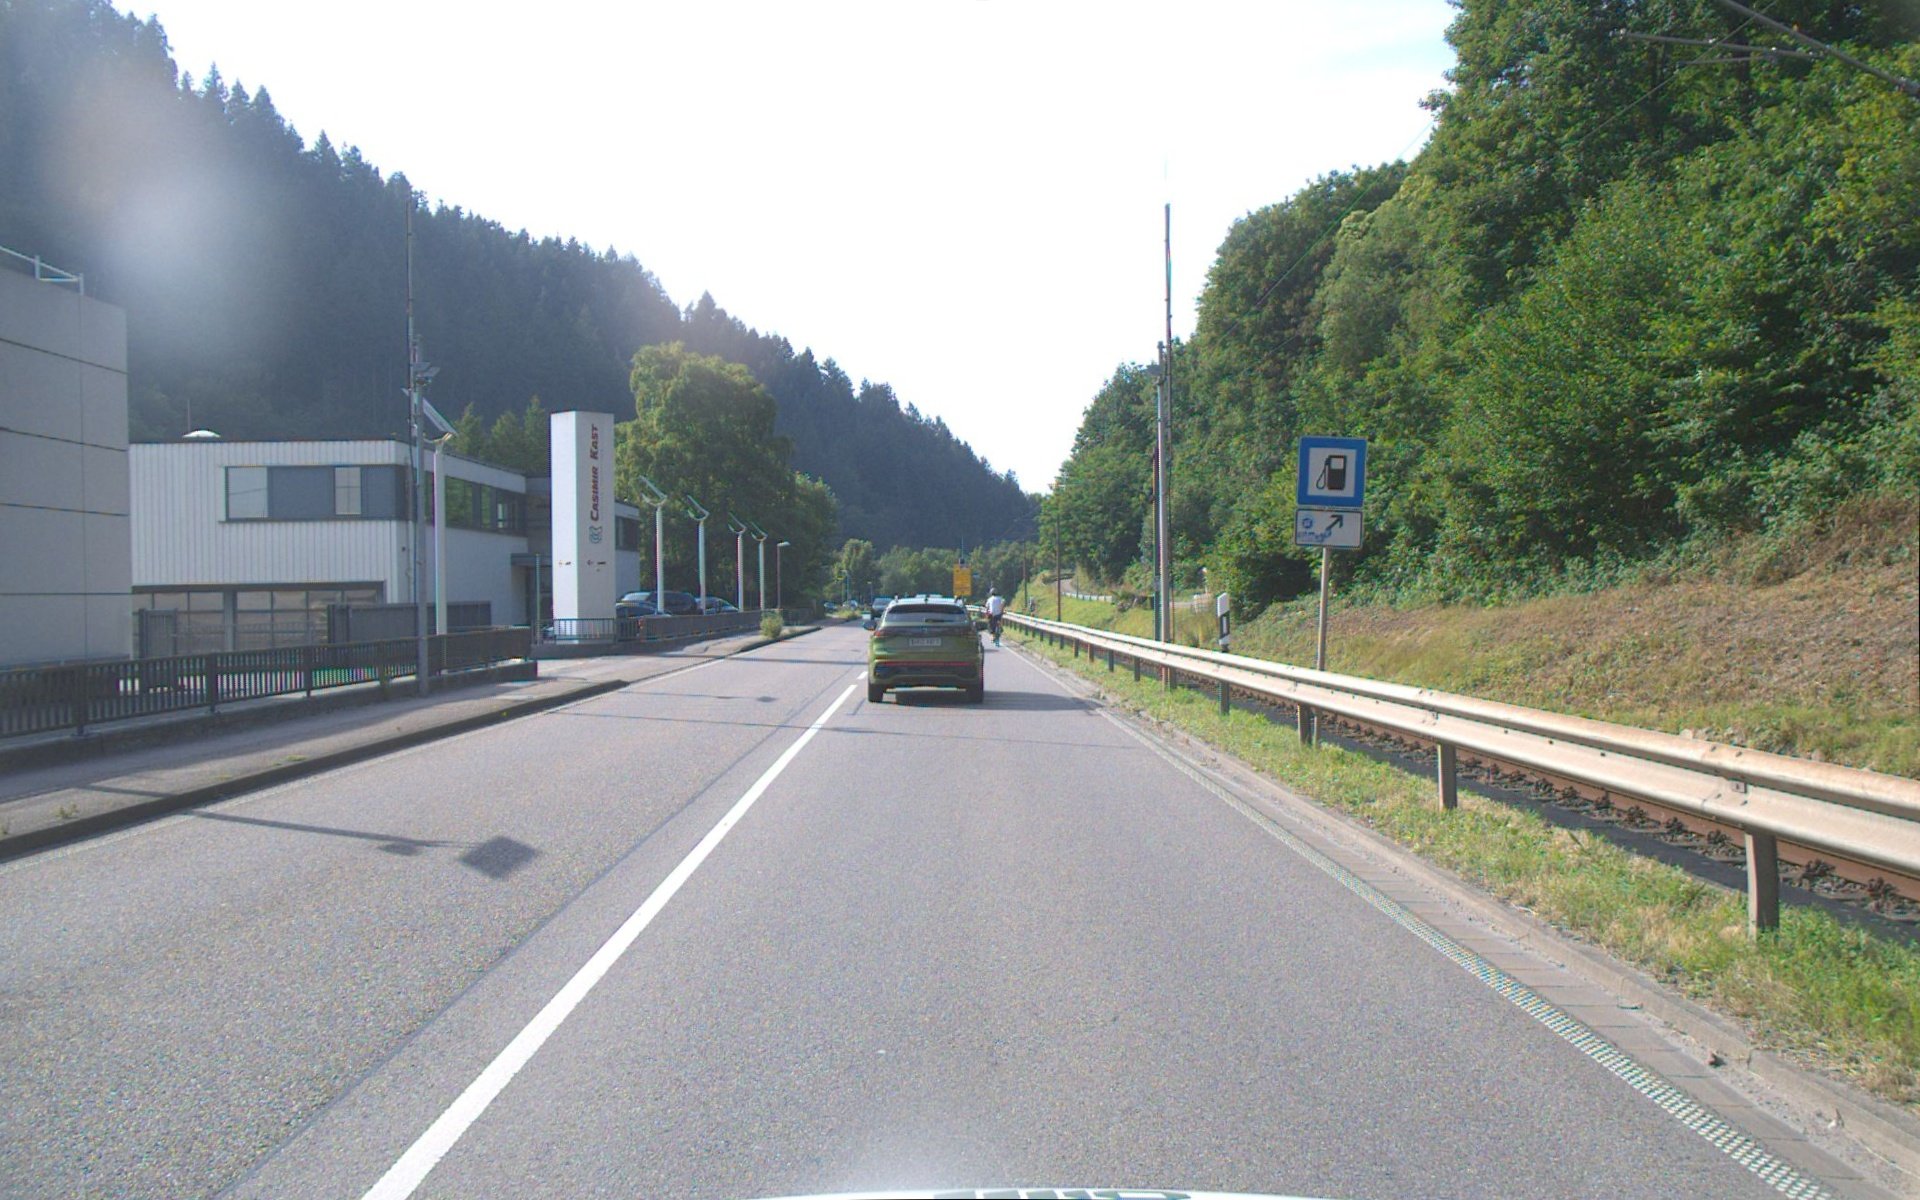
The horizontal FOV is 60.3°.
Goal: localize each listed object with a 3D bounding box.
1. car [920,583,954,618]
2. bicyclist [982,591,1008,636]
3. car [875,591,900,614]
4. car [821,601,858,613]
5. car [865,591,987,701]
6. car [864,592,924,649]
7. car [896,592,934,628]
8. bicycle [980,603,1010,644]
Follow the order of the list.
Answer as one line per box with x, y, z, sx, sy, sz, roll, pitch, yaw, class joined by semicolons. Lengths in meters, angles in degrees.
-1.397;0.009;98.467;1.953;2.049;3.999;-1;0;-1;car
1.096;0.426;52.407;0.766;1.436;0.674;-1;0;-3;bicyclist
-4.986;0.164;114.057;1.643;1.511;4.245;1;0;-1;car
-14.254;0.815;195.593;4.172;1.458;1.556;-1;0;-1;car
-0.544;0.641;25.119;1.704;1.534;3.998;0;0;-2;car
-1.950;0.579;49.125;1.704;1.630;3.998;0;0;-2;car
-2.091;0.437;76.932;1.704;1.630;3.998;0;0;-2;car
1.102;0.732;52.405;0.795;1.272;2.121;-1;0;-3;bicycle
